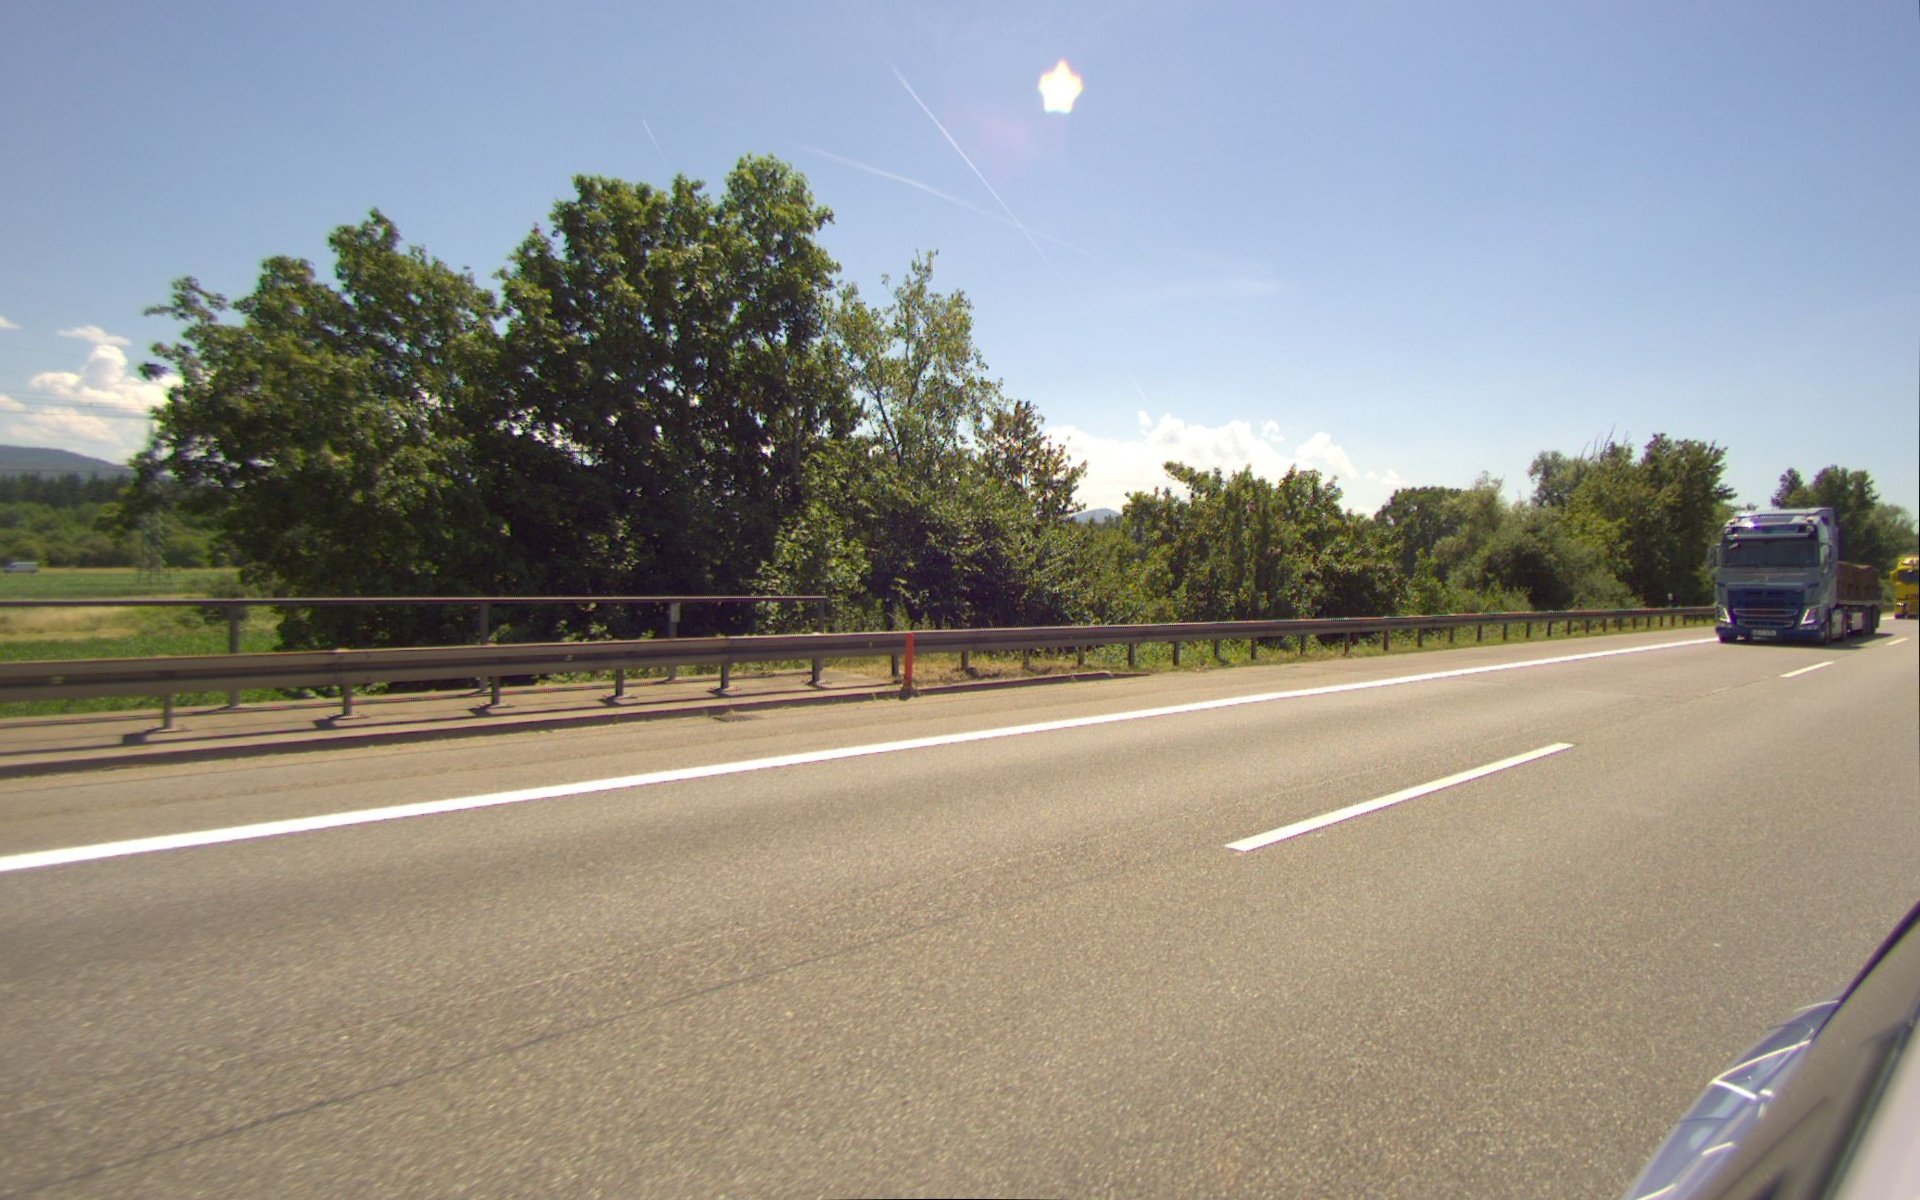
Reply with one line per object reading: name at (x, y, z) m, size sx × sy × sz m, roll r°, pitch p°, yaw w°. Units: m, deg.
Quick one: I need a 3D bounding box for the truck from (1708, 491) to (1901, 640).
truck at (28.730, -1.031, 33.909) m, size 16.334 × 4.006 × 2.973 m, roll -1°, pitch 1°, yaw -43°

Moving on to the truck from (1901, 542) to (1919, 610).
truck at (67.433, -1.609, 69.519) m, size 16.509 × 4.310 × 2.849 m, roll -1°, pitch 3°, yaw -43°
